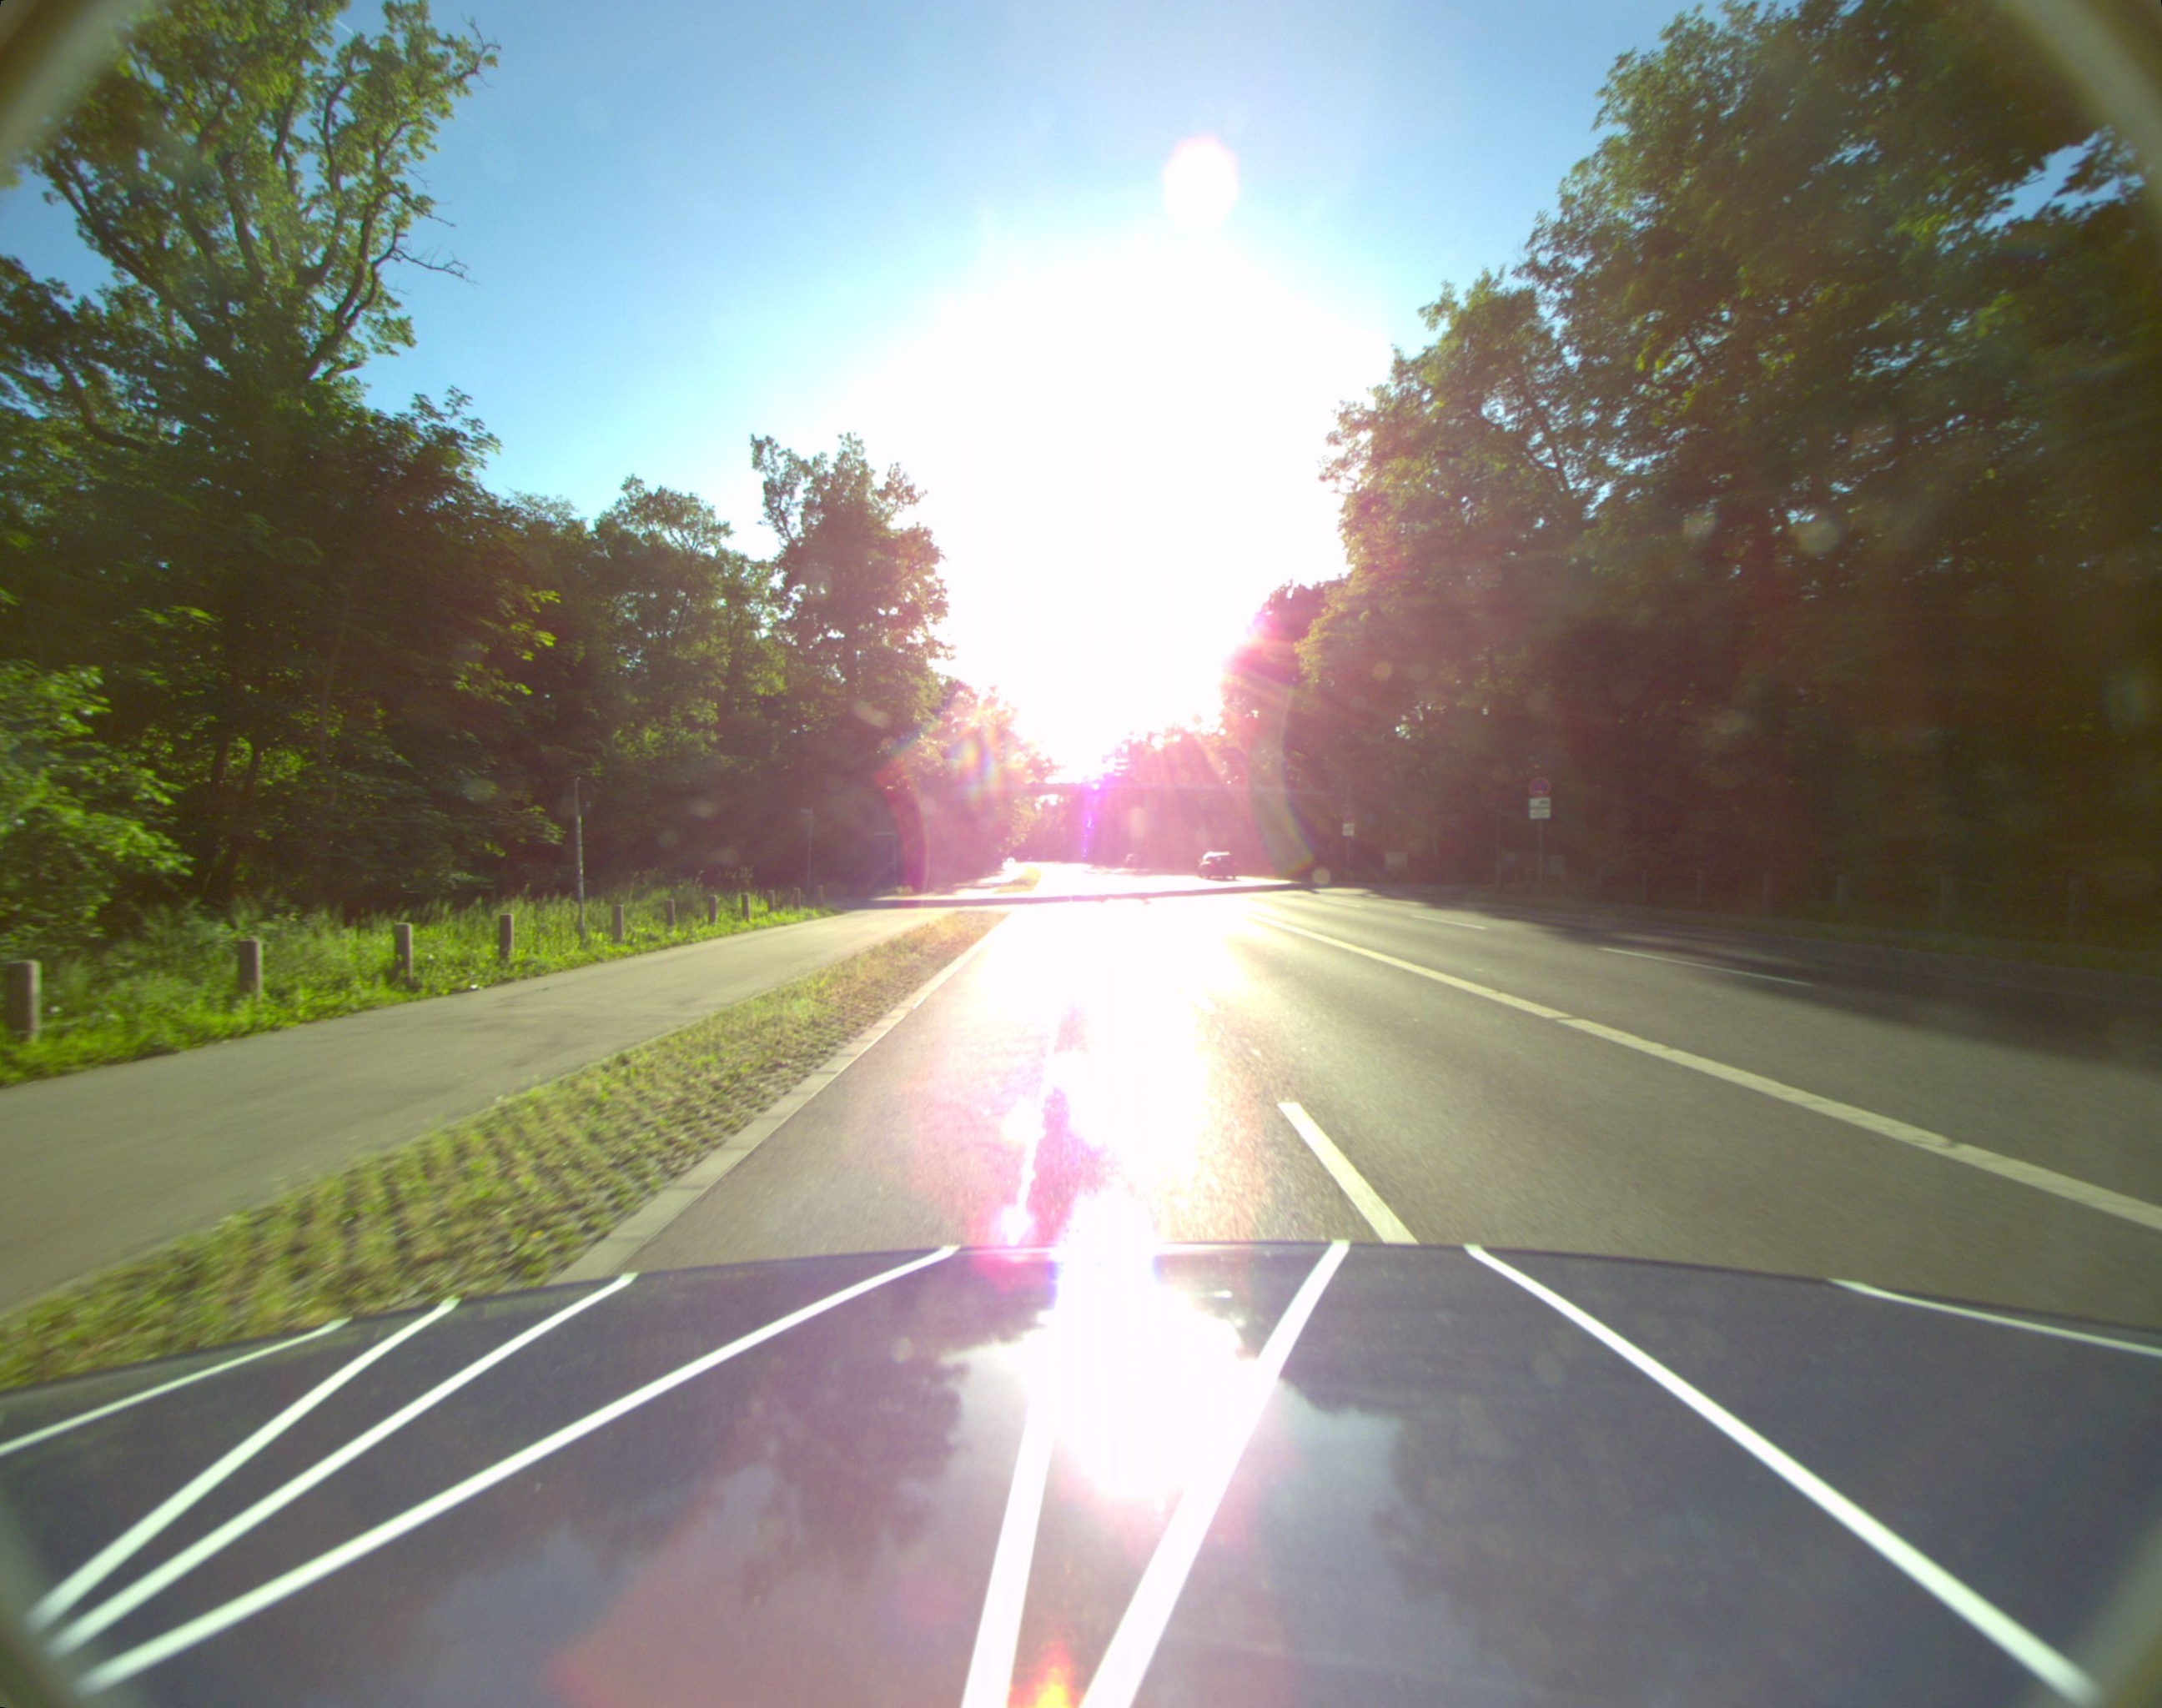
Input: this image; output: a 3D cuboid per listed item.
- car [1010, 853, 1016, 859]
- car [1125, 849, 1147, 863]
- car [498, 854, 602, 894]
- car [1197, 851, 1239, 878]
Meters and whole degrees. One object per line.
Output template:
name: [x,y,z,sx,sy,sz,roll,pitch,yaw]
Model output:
car: [-22.306,0.680,249.578,1.827,1.674,3.997,-1,0,-8]
car: [6.258,0.239,87.149,1.847,1.539,3.998,-2,0,-4]
car: [-21.909,0.784,31.546,1.742,1.516,3.998,-2,0,-5]
car: [7.921,0.555,44.192,1.517,1.457,4.313,-1,0,-2]
